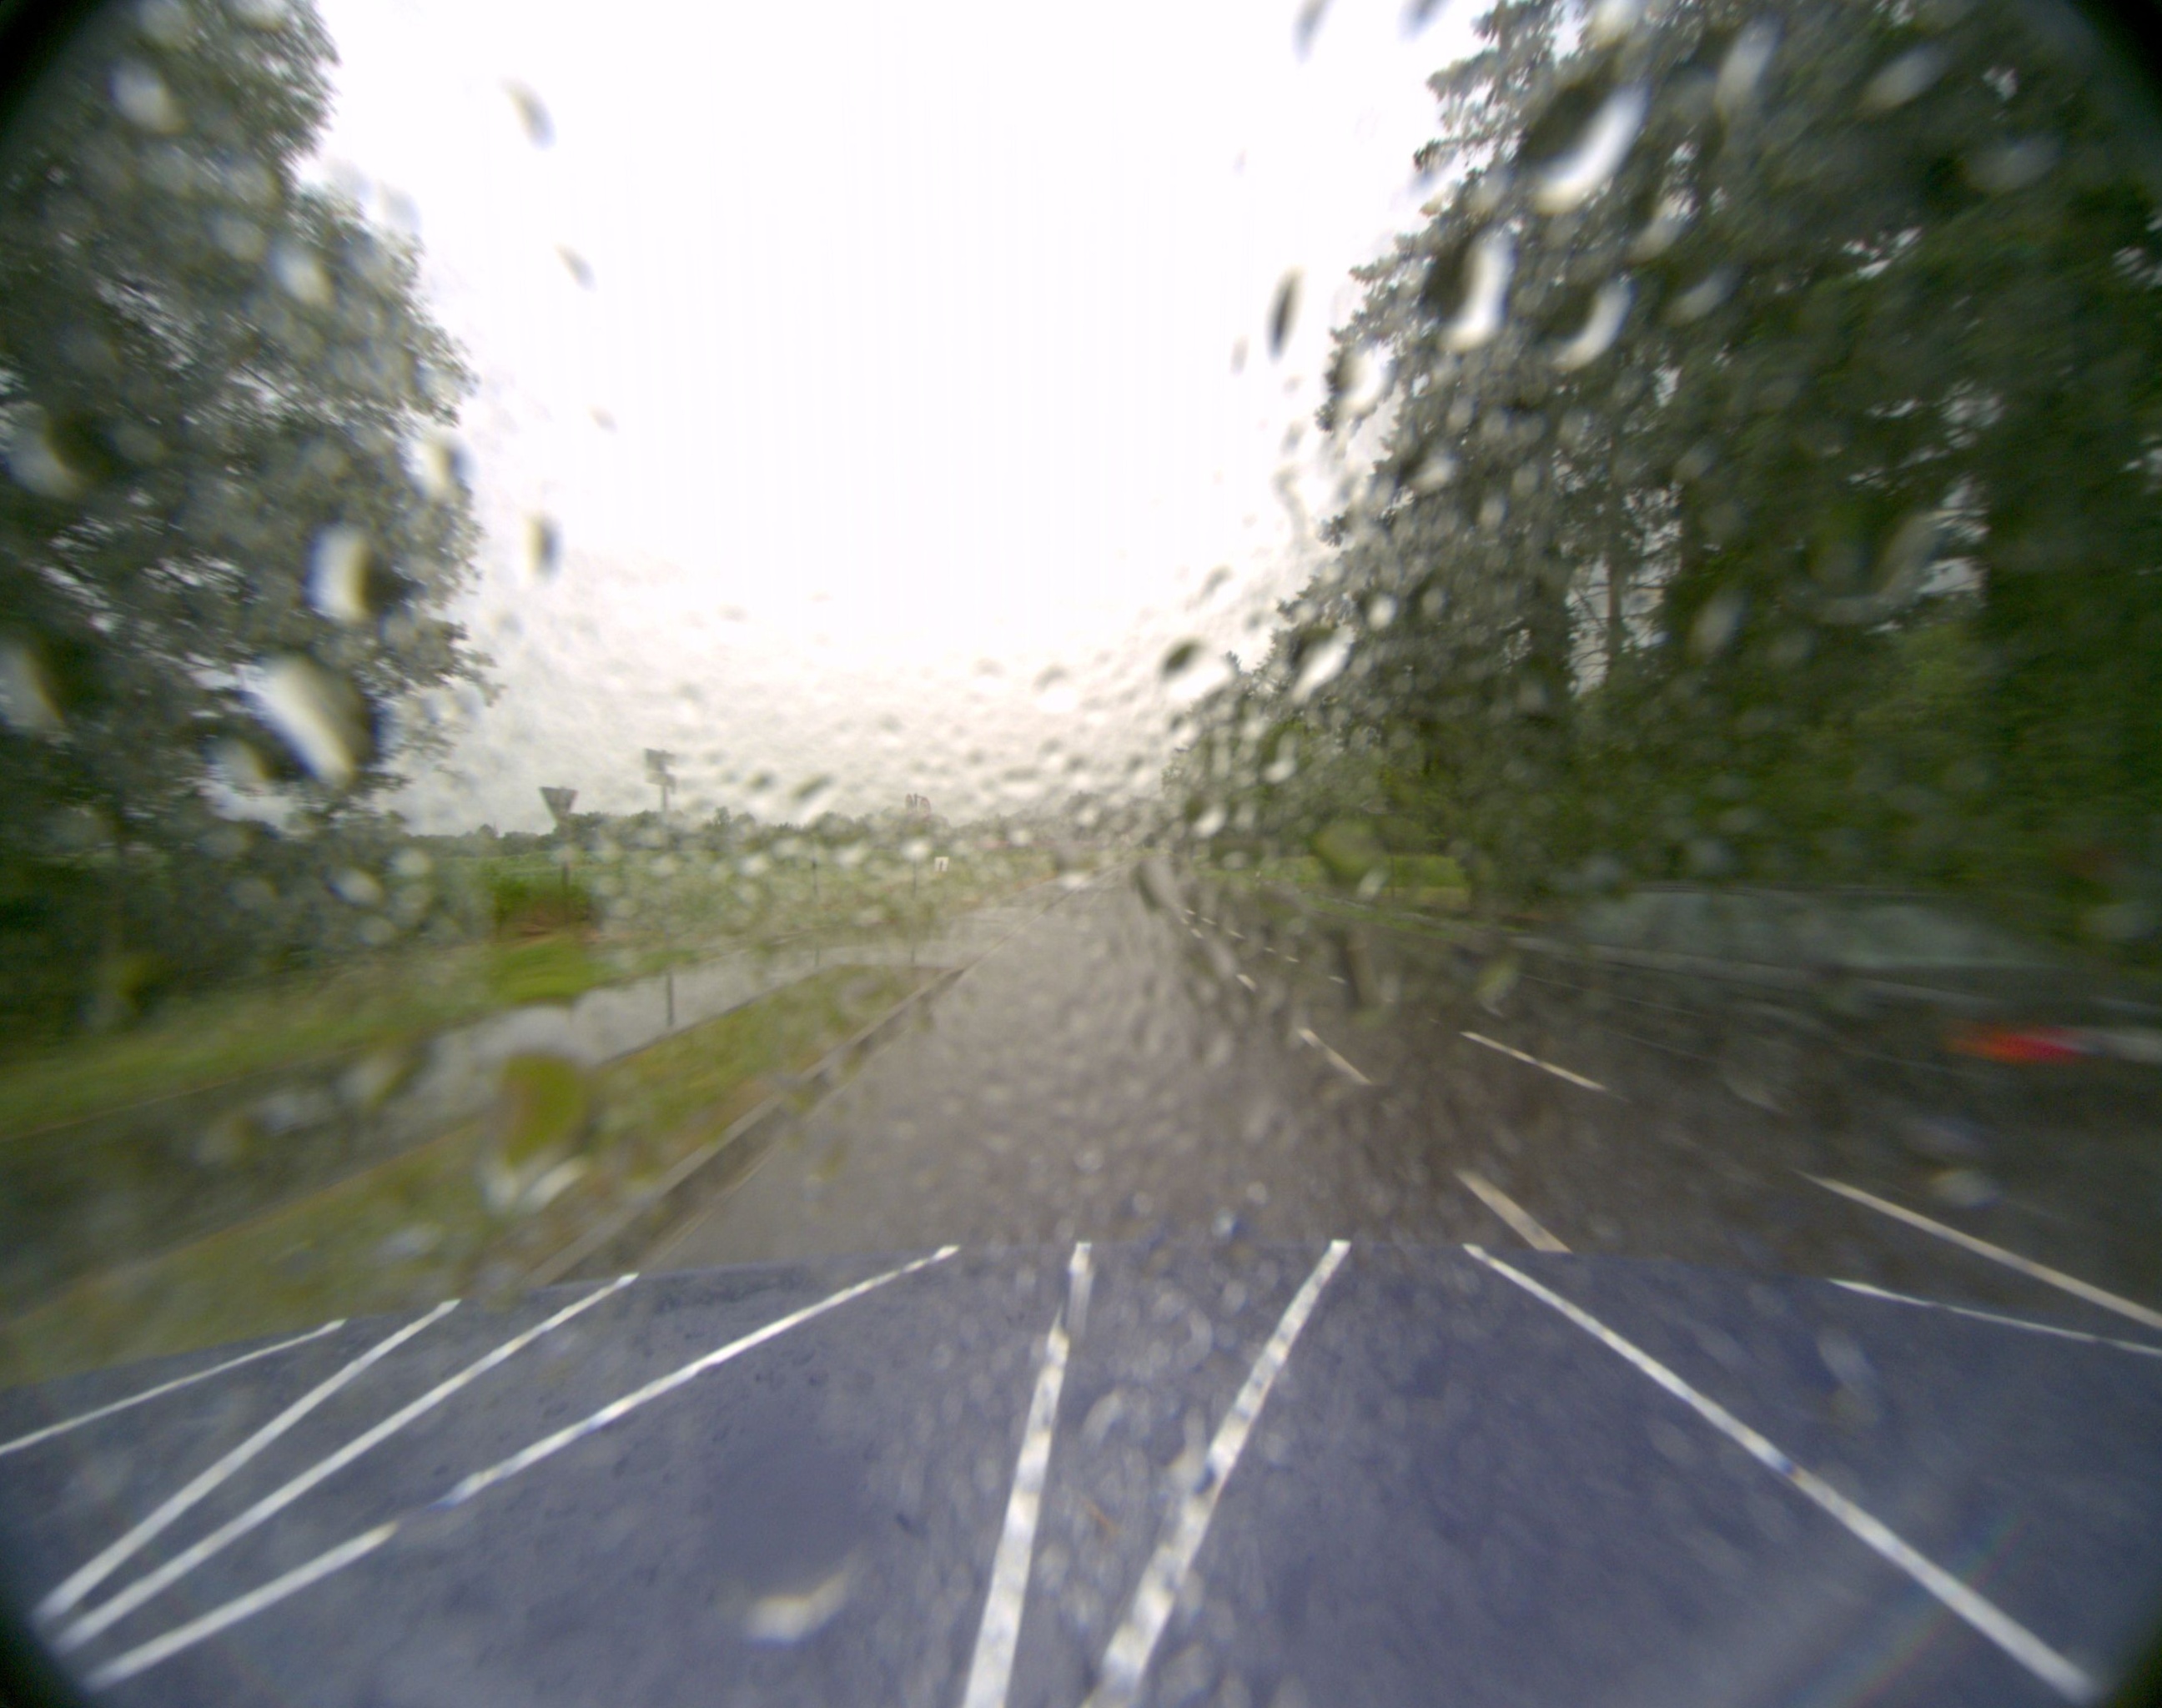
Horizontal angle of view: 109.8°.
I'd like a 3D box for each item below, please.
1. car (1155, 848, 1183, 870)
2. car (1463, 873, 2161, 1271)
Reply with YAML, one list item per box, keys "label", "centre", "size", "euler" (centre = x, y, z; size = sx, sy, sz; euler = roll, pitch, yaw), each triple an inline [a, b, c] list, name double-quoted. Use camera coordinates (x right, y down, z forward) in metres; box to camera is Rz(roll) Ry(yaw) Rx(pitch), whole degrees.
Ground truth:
- label: "car"
  centre: [6.393, 0.404, 55.609]
  size: [1.764, 1.543, 4.002]
  euler: [0, -1, 3]
- label: "car"
  centre: [4.541, 0.907, 5.025]
  size: [1.687, 1.375, 4.223]
  euler: [2, 0, -3]
